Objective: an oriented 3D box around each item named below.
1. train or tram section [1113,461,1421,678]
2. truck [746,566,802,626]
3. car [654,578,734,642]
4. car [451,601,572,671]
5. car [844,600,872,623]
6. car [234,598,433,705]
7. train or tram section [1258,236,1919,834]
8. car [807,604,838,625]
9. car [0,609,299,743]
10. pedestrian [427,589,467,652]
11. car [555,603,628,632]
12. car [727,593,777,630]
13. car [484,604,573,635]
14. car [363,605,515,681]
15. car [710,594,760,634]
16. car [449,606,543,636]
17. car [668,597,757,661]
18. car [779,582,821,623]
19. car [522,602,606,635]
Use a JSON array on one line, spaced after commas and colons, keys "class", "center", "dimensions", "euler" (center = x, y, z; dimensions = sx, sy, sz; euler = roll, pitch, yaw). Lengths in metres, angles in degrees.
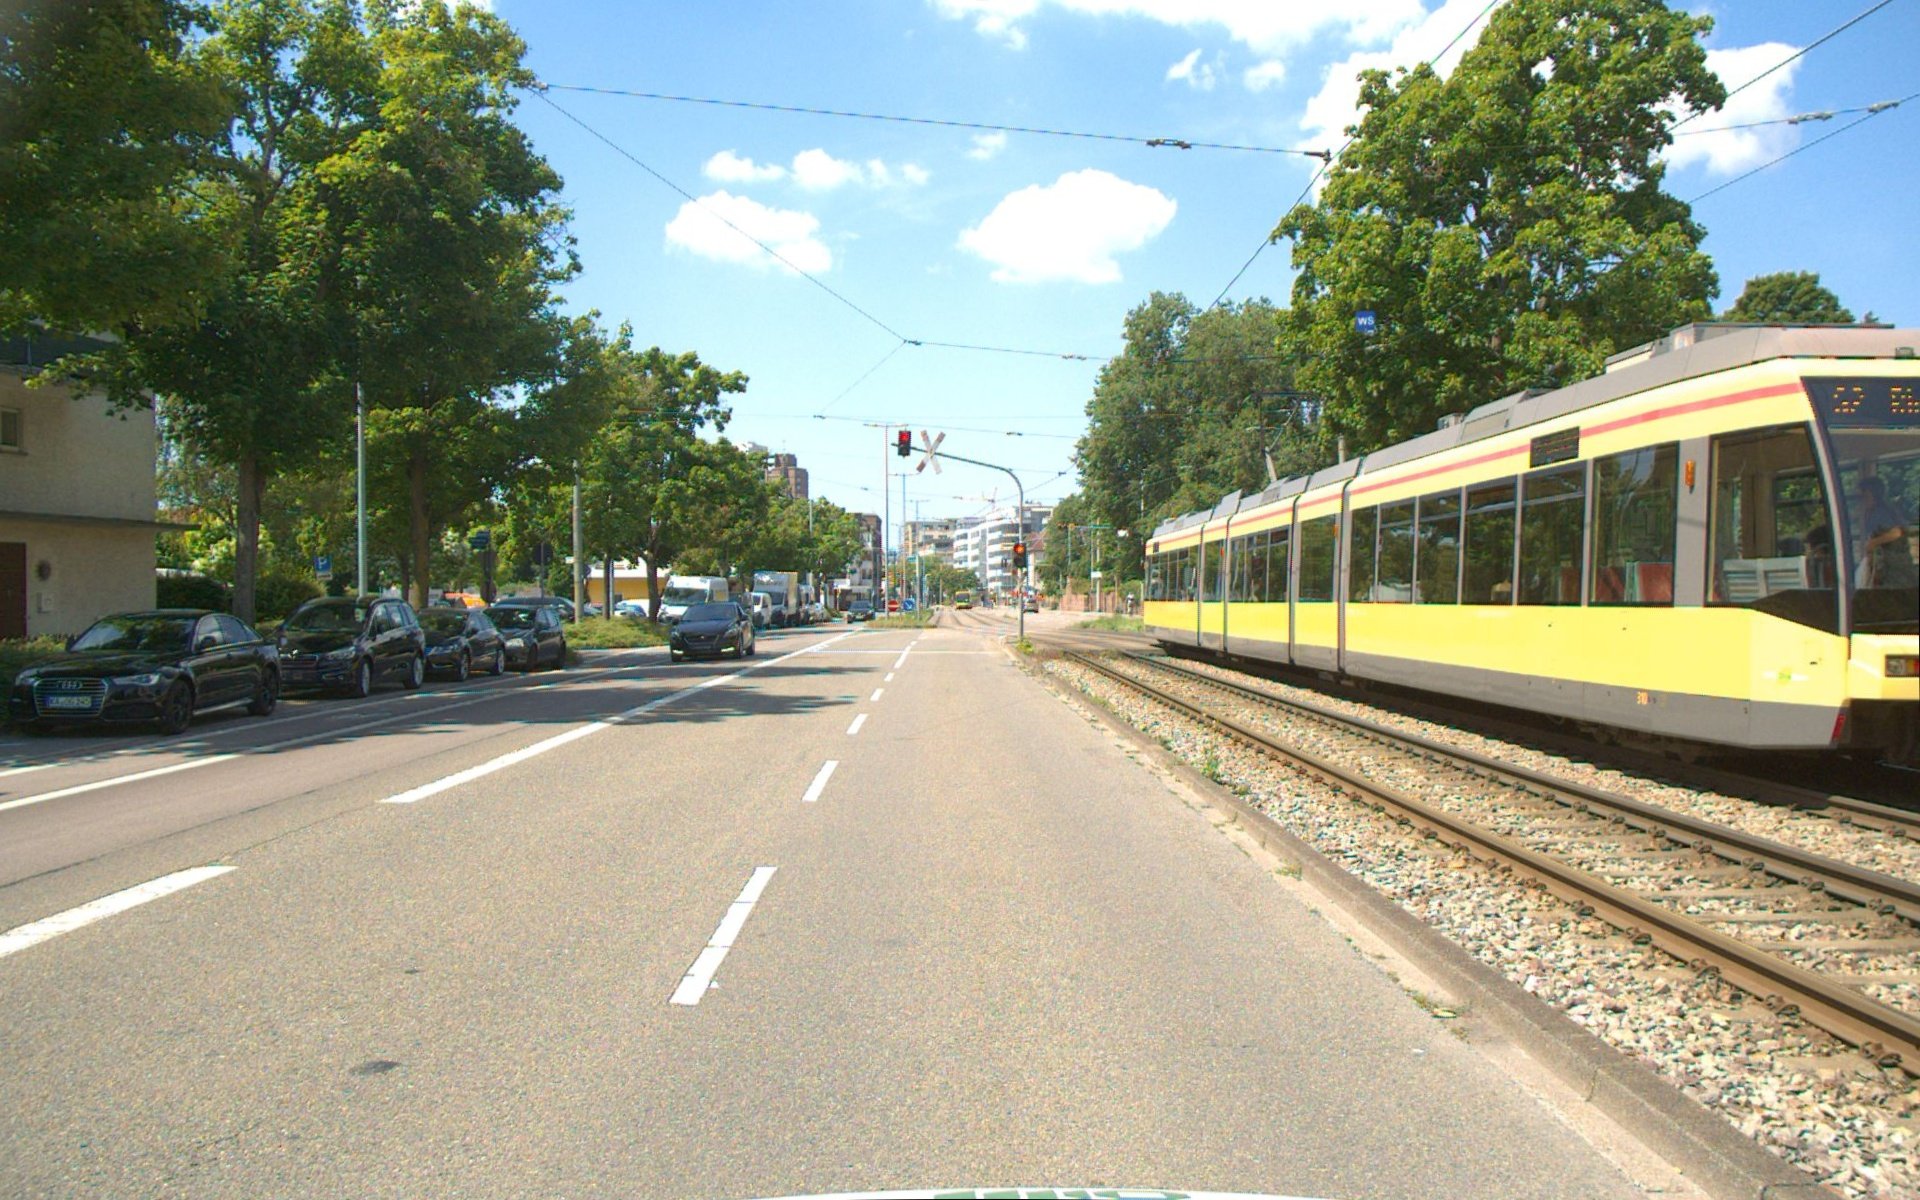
[{"class": "train or tram section", "center": [6.307, -0.574, 39.005], "dimensions": [2.884, 3.756, 20.276], "euler": [1, 0, -2]}, {"class": "truck", "center": [-10.809, -0.246, 96.828], "dimensions": [2.112, 3.266, 7.084], "euler": [3, 0, 2]}, {"class": "car", "center": [-10.988, 0.384, 68.727], "dimensions": [2.112, 2.530, 6.194], "euler": [0, 0, 2]}, {"class": "car", "center": [-10.465, 0.803, 38.851], "dimensions": [1.738, 1.506, 4.047], "euler": [1, 0, -1]}, {"class": "car", "center": [-6.800, 0.727, 110.434], "dimensions": [1.644, 1.422, 4.005], "euler": [-3, 0, -1]}, {"class": "car", "center": [-10.534, 0.804, 28.174], "dimensions": [1.739, 1.632, 4.635], "euler": [1, 0, -2]}, {"class": "train or tram section", "center": [6.736, -0.440, 19.619], "dimensions": [2.883, 3.756, 18.386], "euler": [1, 0, -1]}, {"class": "car", "center": [-11.033, 1.128, 133.078], "dimensions": [2.018, 1.609, 4.871], "euler": [-1, 0, 0]}, {"class": "car", "center": [-10.272, 0.875, 21.283], "dimensions": [1.739, 1.481, 4.802], "euler": [0, 0, -2]}, {"class": "pedestrian", "center": [-15.394, 0.599, 49.617], "dimensions": [0.955, 1.855, 0.794], "euler": [-1, 0, -3]}, {"class": "car", "center": [-21.814, 1.006, 97.941], "dimensions": [3.906, 1.634, 1.805], "euler": [-1, 0, -2]}, {"class": "car", "center": [-11.087, 0.598, 88.364], "dimensions": [2.018, 1.931, 4.871], "euler": [-1, 0, 0]}, {"class": "car", "center": [-21.437, 0.963, 82.264], "dimensions": [3.906, 1.467, 1.805], "euler": [-1, 0, -1]}, {"class": "car", "center": [-10.576, 0.828, 33.944], "dimensions": [1.739, 1.397, 4.695], "euler": [2, 0, -2]}, {"class": "car", "center": [-11.150, 0.676, 82.178], "dimensions": [1.830, 1.928, 4.271], "euler": [-1, 0, 0]}, {"class": "car", "center": [-21.798, 0.987, 77.832], "dimensions": [3.906, 1.363, 1.805], "euler": [-1, 0, -2]}, {"class": "car", "center": [-6.238, 0.699, 42.095], "dimensions": [1.739, 1.485, 4.193], "euler": [-2, 0, -2]}, {"class": "car", "center": [-10.783, 0.163, 112.051], "dimensions": [2.112, 2.685, 5.613], "euler": [1, 0, 2]}, {"class": "car", "center": [-20.510, 0.938, 85.740], "dimensions": [3.906, 1.634, 1.805], "euler": [-1, 0, -2]}]
